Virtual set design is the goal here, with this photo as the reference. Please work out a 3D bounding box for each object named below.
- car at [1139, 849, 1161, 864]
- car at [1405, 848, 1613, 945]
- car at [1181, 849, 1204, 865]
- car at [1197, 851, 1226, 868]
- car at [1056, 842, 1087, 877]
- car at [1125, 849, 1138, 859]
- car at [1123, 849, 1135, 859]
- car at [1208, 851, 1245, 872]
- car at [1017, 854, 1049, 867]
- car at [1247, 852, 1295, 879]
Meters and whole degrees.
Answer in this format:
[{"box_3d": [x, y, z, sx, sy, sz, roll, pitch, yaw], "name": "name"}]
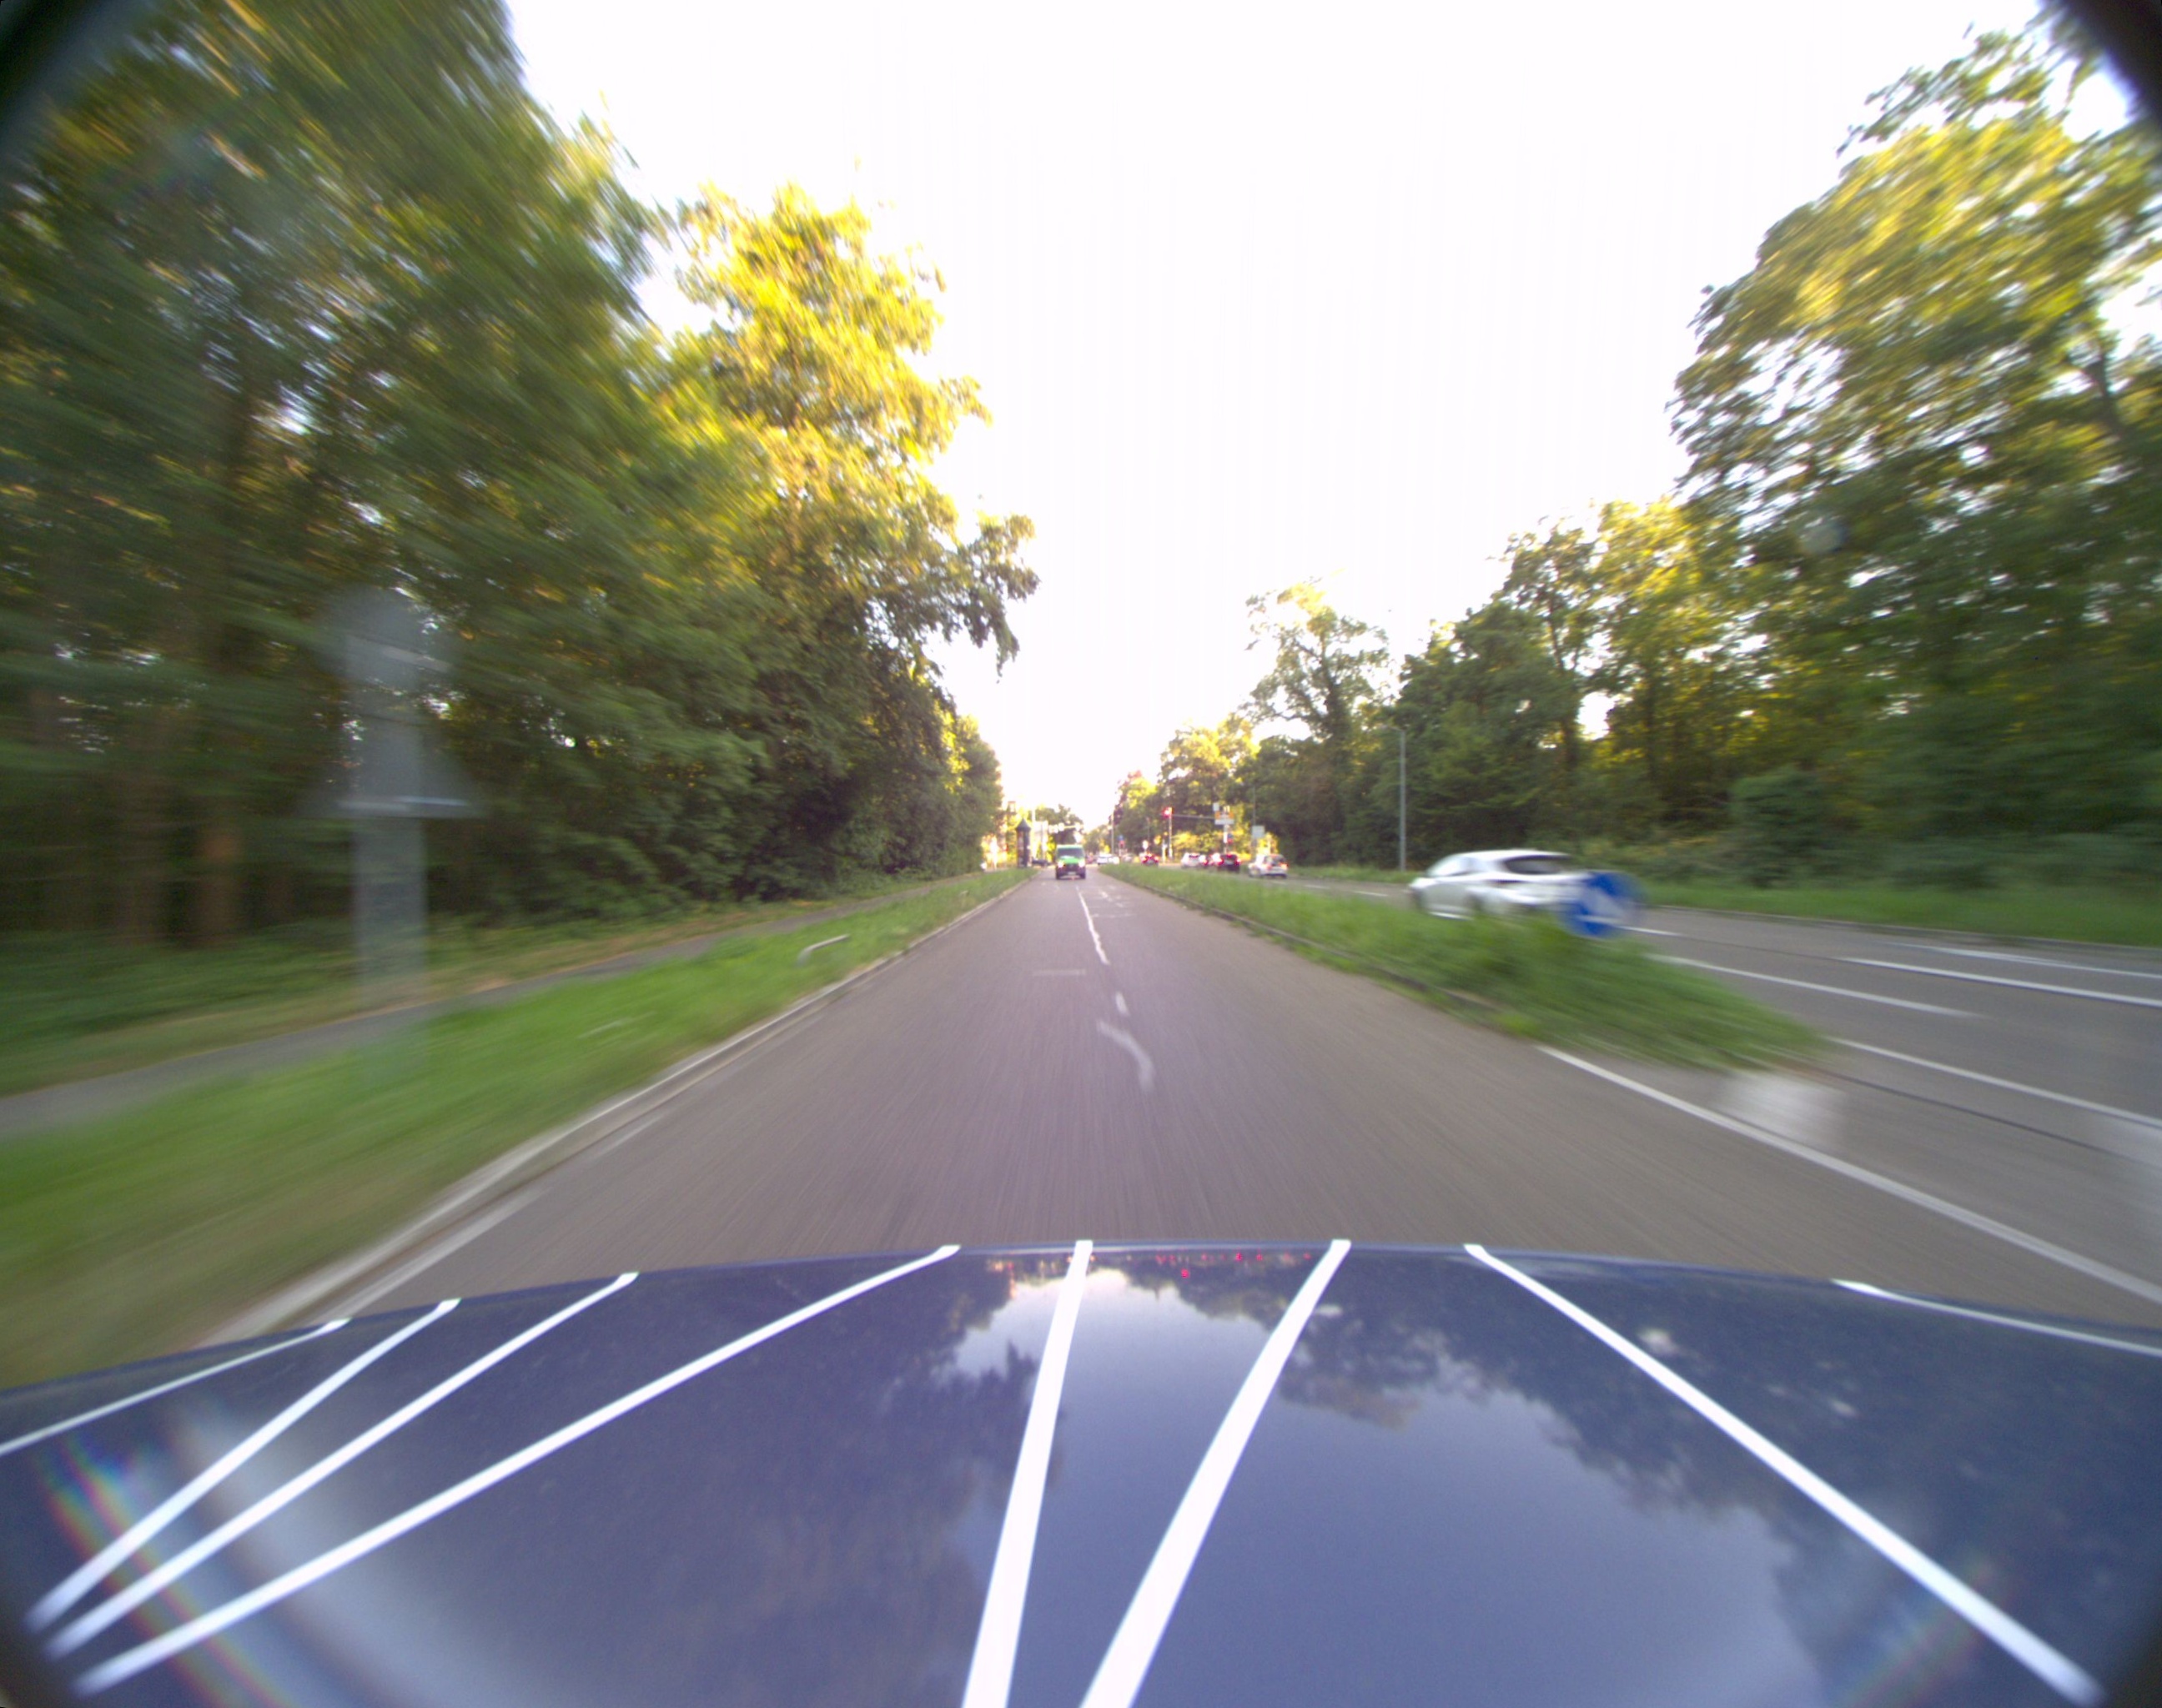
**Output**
[{"box_3d": [7.322, 0.246, 80.790, 1.818, 1.618, 4.450, 1, 0, -1], "name": "car"}, {"box_3d": [7.834, 0.688, 14.408, 1.840, 1.499, 3.937, 0, 2, 3], "name": "car"}, {"box_3d": [11.515, 0.316, 78.542, 1.826, 1.604, 4.641, 1, 0, 2], "name": "car"}, {"box_3d": [11.937, 0.504, 69.524, 1.828, 1.471, 4.232, 1, 0, -1], "name": "car"}, {"box_3d": [-0.634, 0.370, 53.551, 2.044, 2.264, 5.941, -2, 0, 0], "name": "car"}, {"box_3d": [9.301, 0.035, 140.638, 1.861, 1.835, 4.119, -1, 0, -2], "name": "car"}, {"box_3d": [9.228, -0.025, 146.703, 1.861, 1.835, 4.187, -1, 0, -1], "name": "car"}, {"box_3d": [11.701, 0.552, 61.430, 1.999, 1.618, 4.650, 1, 0, -1], "name": "car"}, {"box_3d": [-6.227, 0.839, 99.109, 3.998, 1.527, 1.661, -1, 0, -2], "name": "car"}, {"box_3d": [11.644, 0.681, 46.710, 1.999, 1.450, 3.809, -1, 2, 0], "name": "car"}]
